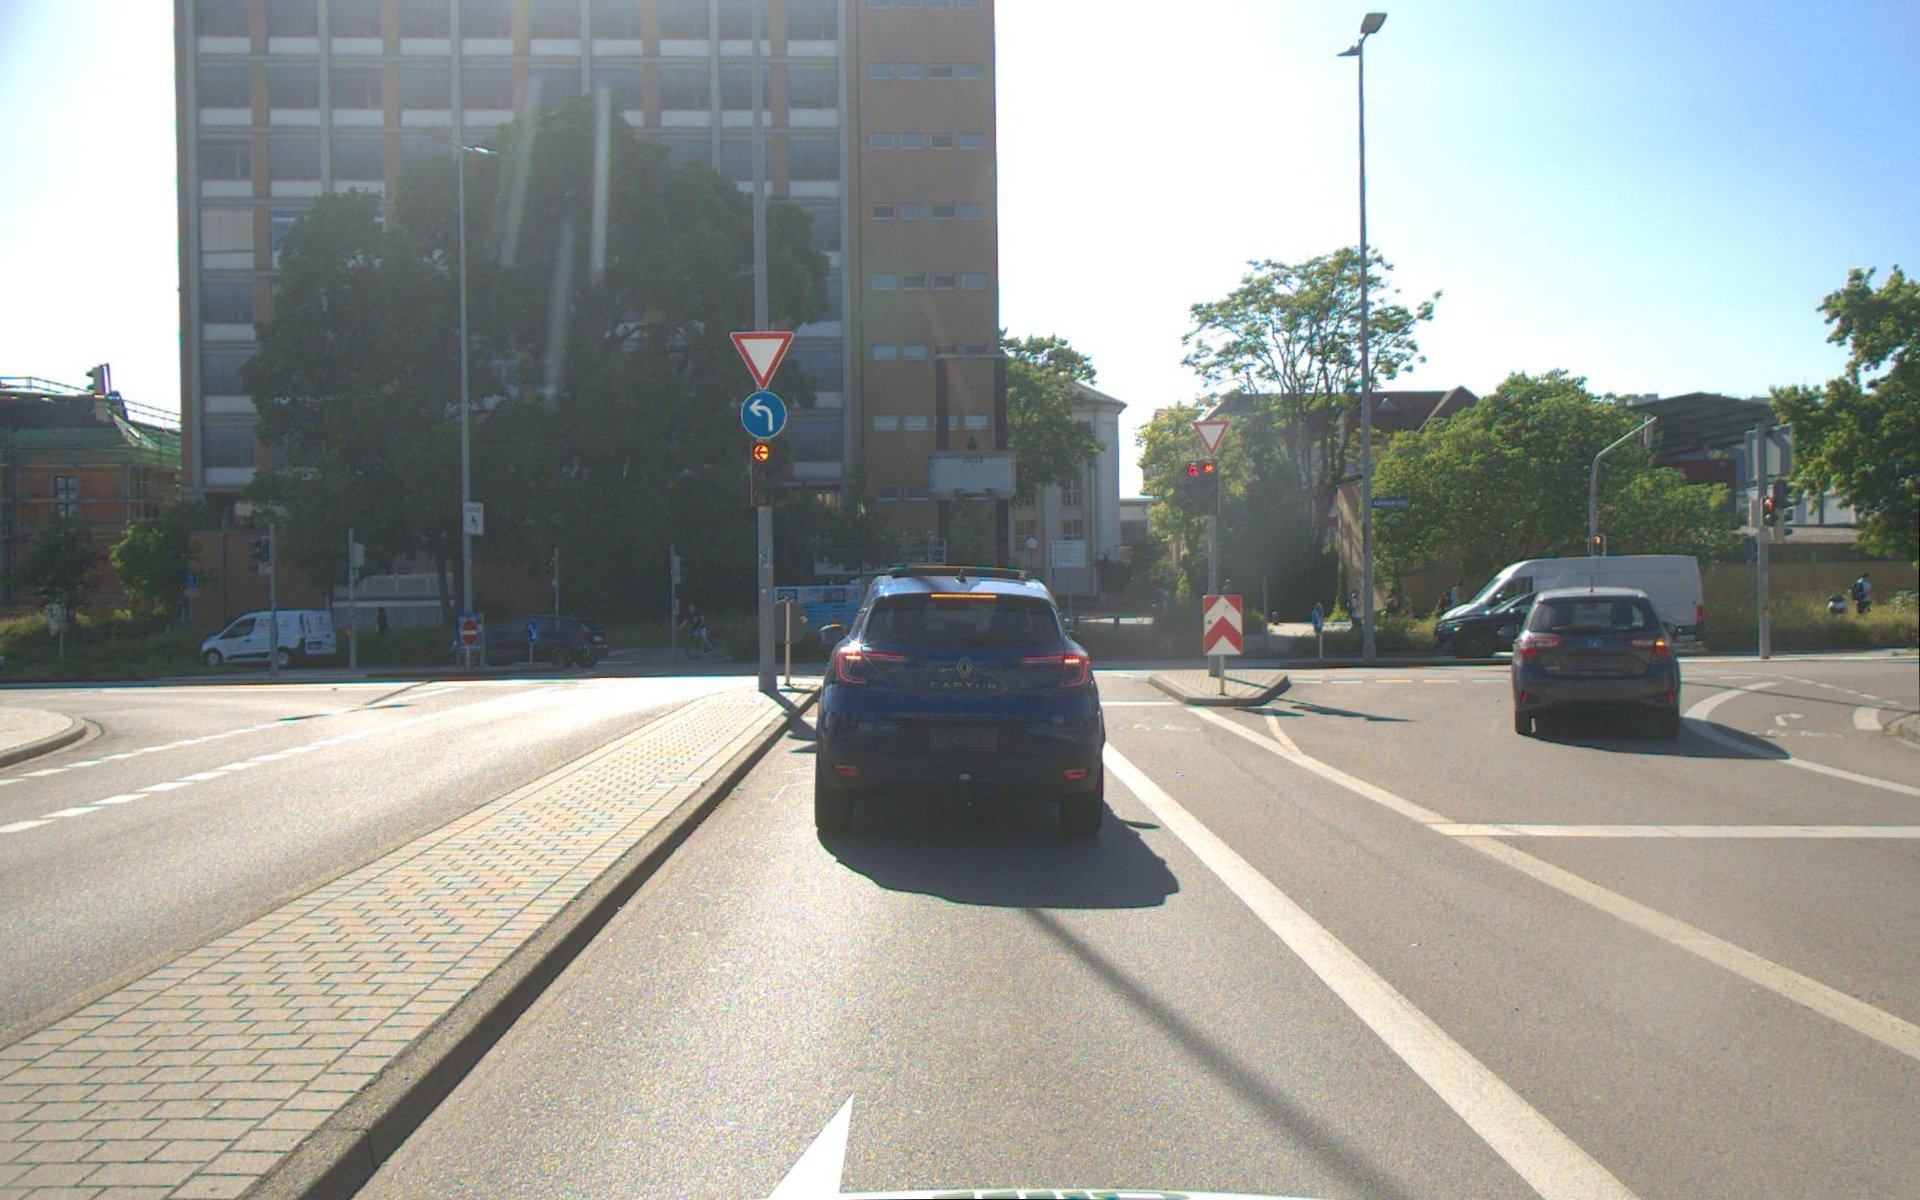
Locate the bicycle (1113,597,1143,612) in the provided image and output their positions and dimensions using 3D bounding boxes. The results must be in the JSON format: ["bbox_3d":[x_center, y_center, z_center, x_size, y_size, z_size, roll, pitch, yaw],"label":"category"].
[{"bbox_3d":[10.440,0.271,102.719,1.735,0.914,0.765,-1,0,-1],"label":"bicycle"}]

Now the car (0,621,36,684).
[{"bbox_3d":[-23.461,1.188,37.836,3.762,1.428,1.893,0,-2,15],"label":"car"}]

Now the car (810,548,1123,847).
[{"bbox_3d":[-0.028,0.538,11.349,1.758,1.684,3.852,1,1,-2],"label":"car"}]

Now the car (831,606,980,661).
[{"bbox_3d":[-1.499,0.932,46.799,3.959,1.464,2.067,-1,0,5],"label":"car"}]

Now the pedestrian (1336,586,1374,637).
[{"bbox_3d":[12.263,0.343,51.397,1.062,1.547,0.931,-1,0,8],"label":"pedestrian"}]

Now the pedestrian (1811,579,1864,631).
[{"bbox_3d":[26.926,0.147,50.762,1.105,1.547,0.991,-1,0,2],"label":"pedestrian"}]

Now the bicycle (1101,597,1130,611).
[{"bbox_3d":[10.065,0.269,107.075,1.735,0.908,0.765,-1,0,-1],"label":"bicycle"}]

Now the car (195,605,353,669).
[{"bbox_3d":[-21.555,1.142,52.031,4.083,1.913,2.216,-1,0,16],"label":"car"}]

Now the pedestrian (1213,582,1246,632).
[{"bbox_3d":[11.070,0.286,68.014,1.133,2.049,1.164,-1,0,-1],"label":"pedestrian"}]

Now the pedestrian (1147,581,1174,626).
[{"bbox_3d":[8.141,0.133,67.251,0.933,1.772,0.984,-1,0,-1],"label":"pedestrian"}]

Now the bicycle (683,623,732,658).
[{"bbox_3d":[-7.845,1.261,51.540,0.684,1.025,1.868,-3,-2,19],"label":"bicycle"}]

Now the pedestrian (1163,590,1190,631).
[{"bbox_3d":[8.767,0.413,66.949,0.917,1.641,1.175,-1,0,-1],"label":"pedestrian"}]

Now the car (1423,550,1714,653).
[{"bbox_3d":[16.142,0.039,44.307,6.787,2.591,3.015,-1,0,7],"label":"car"}]

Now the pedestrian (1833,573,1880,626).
[{"bbox_3d":[26.994,-0.018,49.811,0.951,1.547,0.886,-1,0,2],"label":"pedestrian"}]

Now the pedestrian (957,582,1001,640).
[{"bbox_3d":[0.618,0.363,54.386,1.269,1.888,0.967,-1,0,10],"label":"pedestrian"}]

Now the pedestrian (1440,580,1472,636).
[{"bbox_3d":[15.652,0.242,52.157,0.943,1.762,0.926,-1,0,17],"label":"pedestrian"}]

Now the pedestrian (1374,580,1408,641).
[{"bbox_3d":[13.496,0.316,51.809,0.912,1.888,0.808,-1,0,8],"label":"pedestrian"}]

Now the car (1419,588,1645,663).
[{"bbox_3d":[13.990,0.631,40.696,4.923,1.702,2.001,1,-1,6],"label":"car"}]

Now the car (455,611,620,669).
[{"bbox_3d":[-11.444,1.068,44.993,3.818,1.474,2.103,-1,0,7],"label":"car"}]

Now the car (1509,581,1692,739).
[{"bbox_3d":[7.080,0.572,18.548,1.700,1.542,4.002,1,1,19],"label":"car"}]

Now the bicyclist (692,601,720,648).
[{"bbox_3d":[-7.901,0.779,51.477,0.633,1.437,0.639,-2,-2,19],"label":"bicyclist"}]

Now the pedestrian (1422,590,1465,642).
[{"bbox_3d":[14.522,0.480,49.660,1.052,1.547,0.879,-1,0,3],"label":"pedestrian"}]

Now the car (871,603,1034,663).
[{"bbox_3d":[-0.159,0.837,42.826,3.958,1.464,2.067,-1,0,7],"label":"car"}]

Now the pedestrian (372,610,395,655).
[{"bbox_3d":[-20.710,1.182,59.460,0.522,1.598,0.555,-1,0,24],"label":"pedestrian"}]
